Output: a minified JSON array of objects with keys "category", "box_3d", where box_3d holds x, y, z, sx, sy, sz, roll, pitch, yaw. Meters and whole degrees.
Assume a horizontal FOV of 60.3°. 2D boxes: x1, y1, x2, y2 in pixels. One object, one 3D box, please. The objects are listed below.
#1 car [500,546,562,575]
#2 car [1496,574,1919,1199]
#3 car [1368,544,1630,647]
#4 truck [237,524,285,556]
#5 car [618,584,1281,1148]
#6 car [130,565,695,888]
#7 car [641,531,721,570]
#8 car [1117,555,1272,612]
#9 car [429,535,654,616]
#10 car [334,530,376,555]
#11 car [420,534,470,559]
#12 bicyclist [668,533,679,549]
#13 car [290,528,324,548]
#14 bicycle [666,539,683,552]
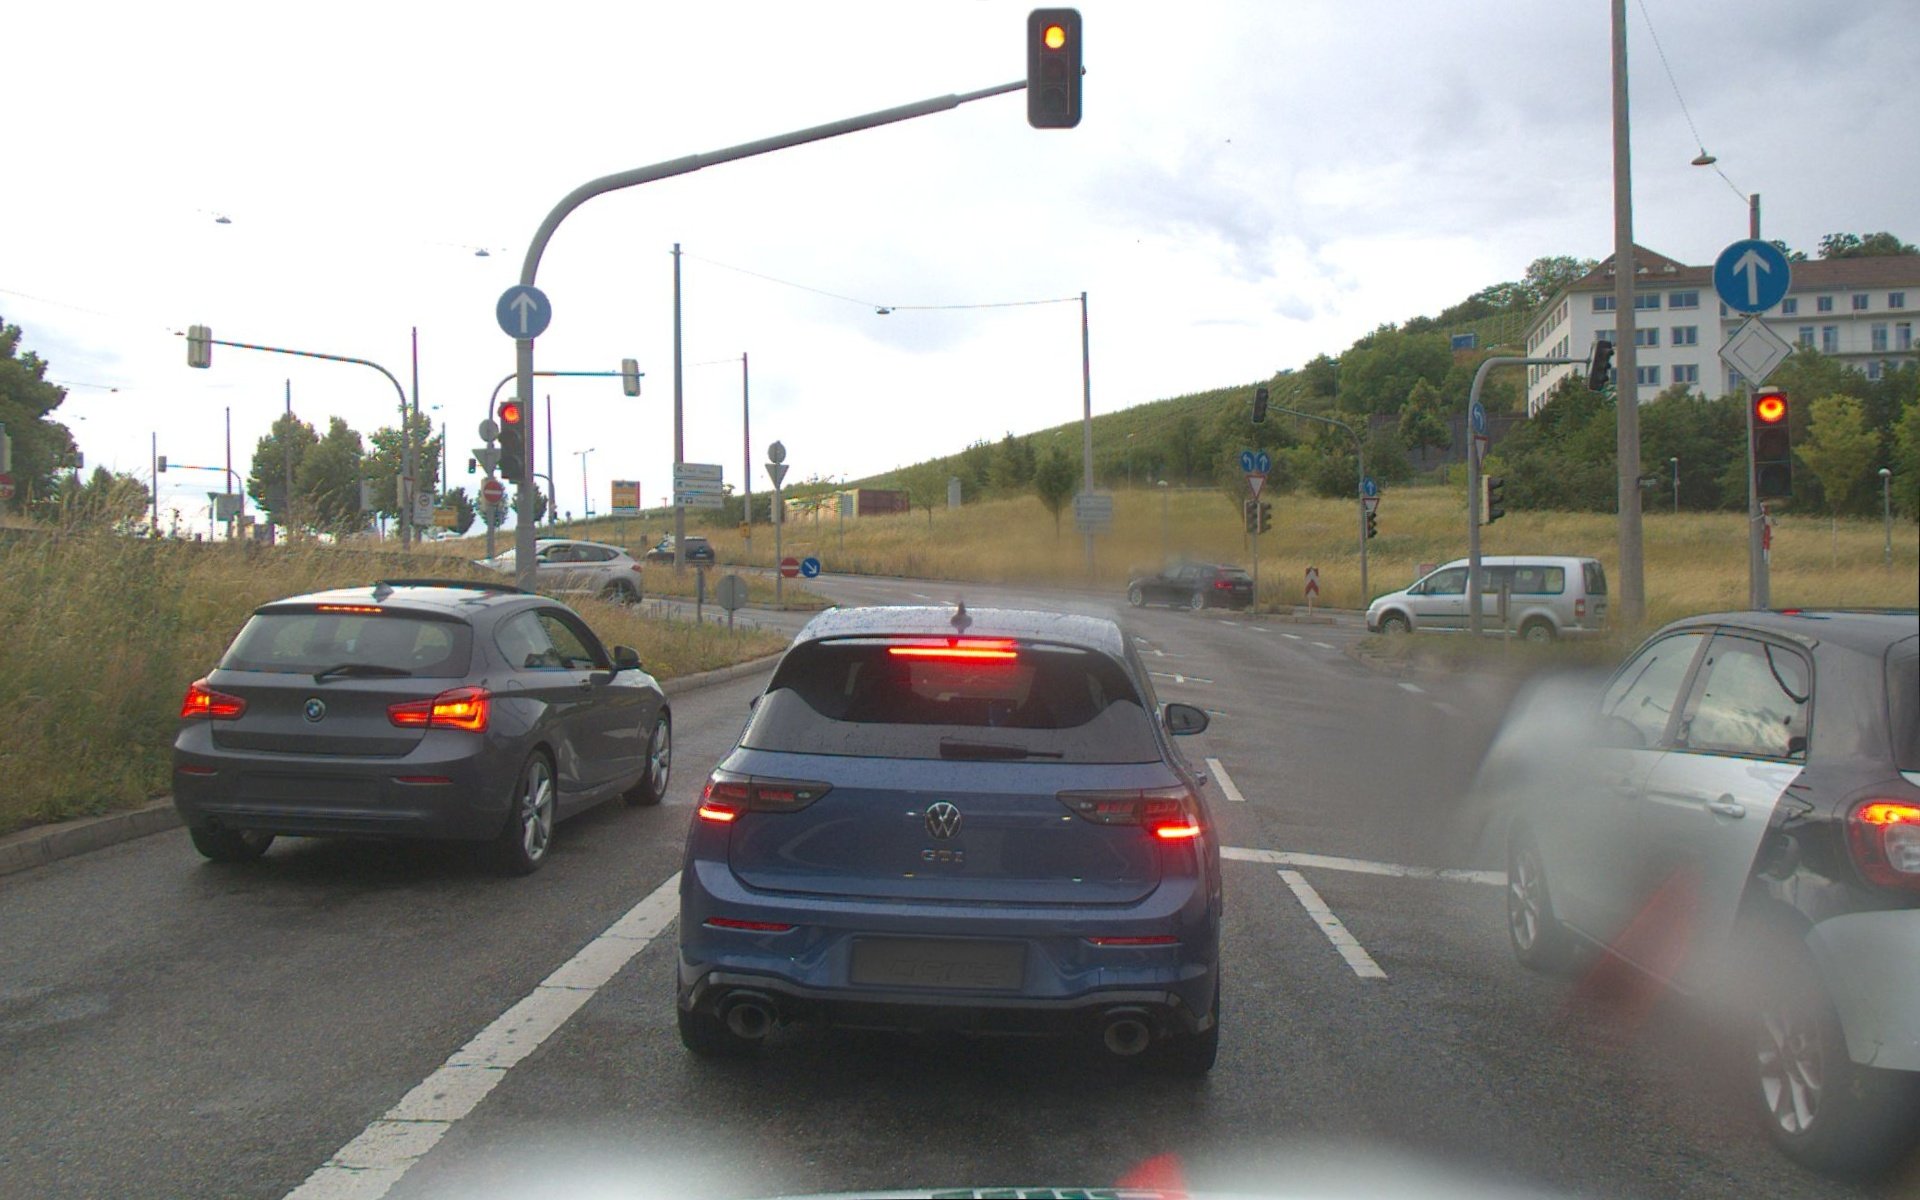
[{"category":"car","box_3d":[-24.871,-2.272,95.819,1.978,1.503,4.446,1,-1,-36]},{"category":"car","box_3d":[3.163,0.732,5.746,1.623,1.529,3.452,1,-1,3]},{"category":"car","box_3d":[10.588,-0.079,32.675,4.611,1.882,1.812,0,-1,40]},{"category":"truck","box_3d":[-74.369,-6.433,175.953,3.234,3.128,6.096,4,0,-37]},{"category":"car","box_3d":[0.109,0.703,6.376,1.786,1.486,3.810,1,0,4]},{"category":"car","box_3d":[-2.876,0.562,9.711,1.667,1.485,4.117,0,0,5]},{"category":"car","box_3d":[-13.263,-2.316,78.539,1.979,1.665,4.362,1,-1,-37]},{"category":"car","box_3d":[7.184,-0.534,51.054,1.978,1.646,4.790,1,1,-36]},{"category":"car","box_3d":[-9.330,-0.503,37.020,4.480,1.649,1.972,1,-1,-39]},{"category":"car","box_3d":[-49.597,-4.679,135.582,2.111,1.826,4.684,1,-1,-34]},{"category":"car","box_3d":[-35.157,-3.614,112.835,1.977,1.503,4.366,1,-1,-35]},{"category":"bicyclist","box_3d":[-19.644,-4.016,113.334,0.518,1.065,0.574,4,0,-34]},{"category":"car","box_3d":[-61.195,-5.769,154.997,1.978,1.688,4.487,1,-1,-36]},{"category":"bicycle","box_3d":[-19.525,-3.735,113.161,0.513,0.788,1.602,3,0,-33]}]
